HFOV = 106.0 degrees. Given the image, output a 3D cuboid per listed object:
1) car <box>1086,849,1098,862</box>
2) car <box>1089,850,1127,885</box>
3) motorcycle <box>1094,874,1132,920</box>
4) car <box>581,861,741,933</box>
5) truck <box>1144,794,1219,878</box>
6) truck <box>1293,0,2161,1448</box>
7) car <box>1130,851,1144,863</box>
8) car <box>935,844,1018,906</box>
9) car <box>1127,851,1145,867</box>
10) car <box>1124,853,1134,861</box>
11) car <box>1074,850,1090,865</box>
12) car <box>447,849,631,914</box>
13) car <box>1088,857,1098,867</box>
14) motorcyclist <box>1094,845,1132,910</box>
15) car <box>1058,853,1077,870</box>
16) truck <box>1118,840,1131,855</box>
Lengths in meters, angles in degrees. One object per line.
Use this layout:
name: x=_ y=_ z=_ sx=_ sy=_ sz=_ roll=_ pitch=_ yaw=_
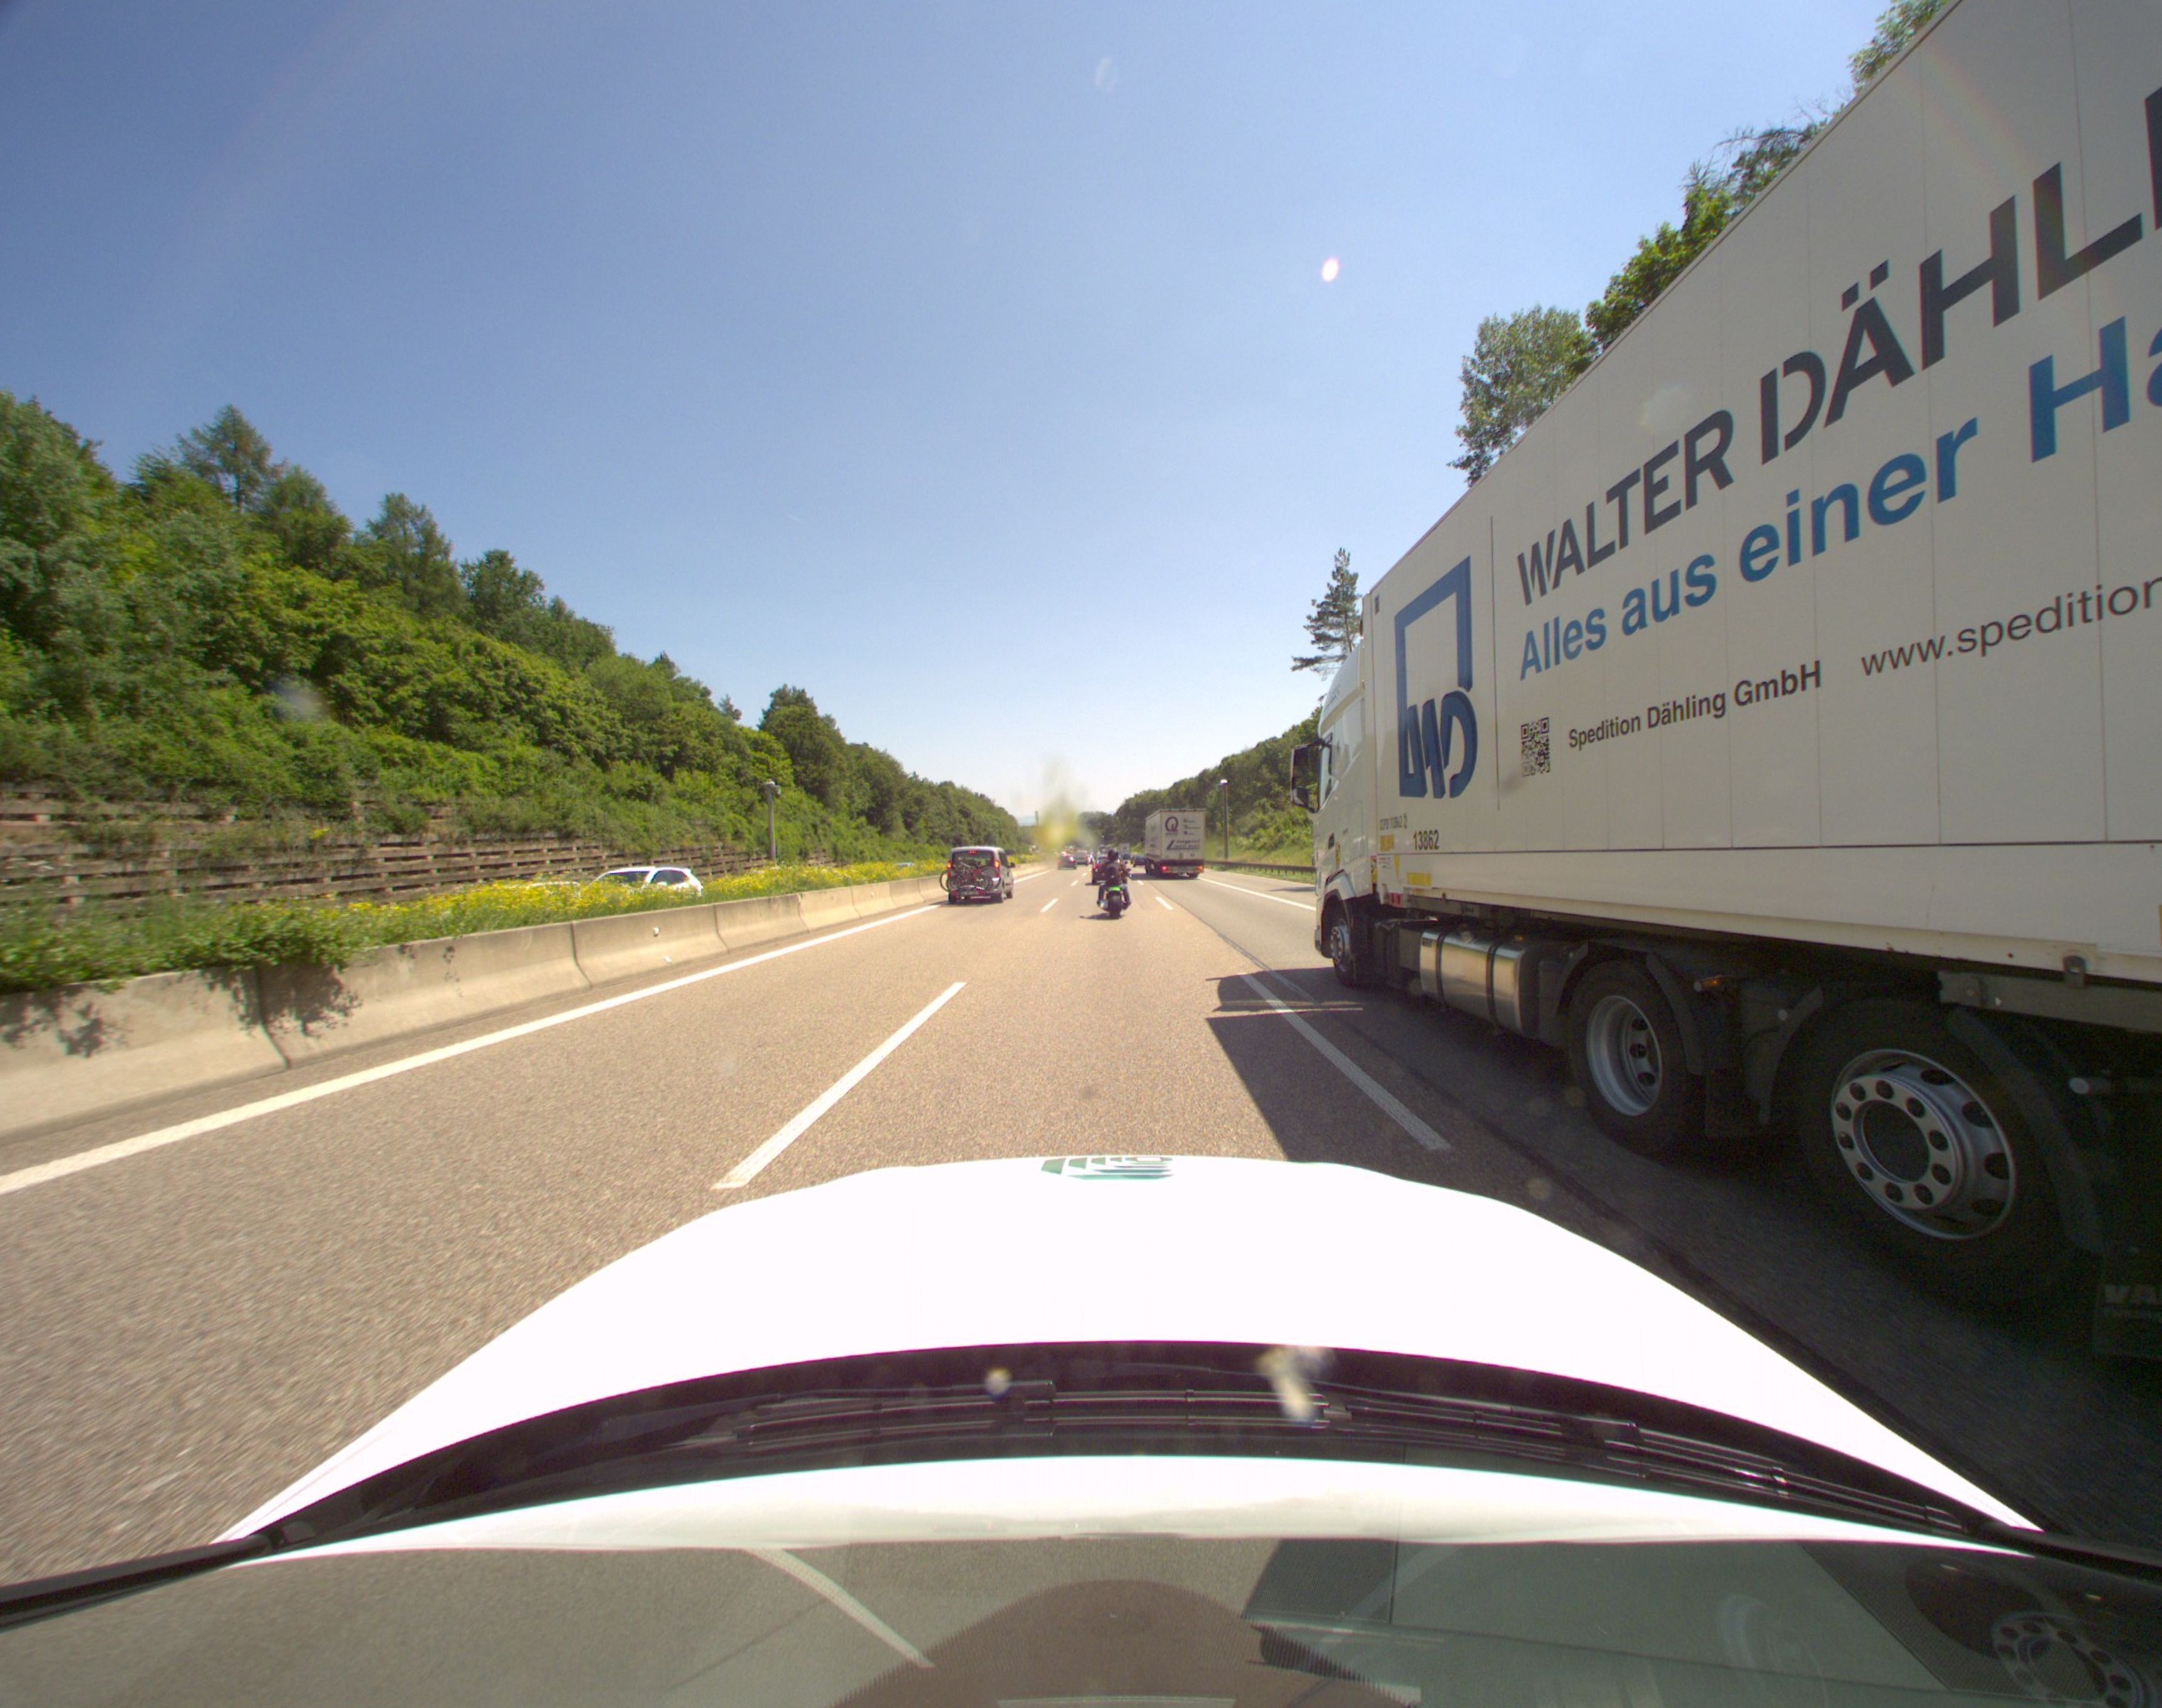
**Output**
car: x=1.636 y=0.242 z=120.312 sx=1.824 sy=1.810 sz=4.122 roll=-1 pitch=1 yaw=1
car: x=1.370 y=0.649 z=41.528 sx=1.838 sy=1.557 sz=4.441 roll=-1 pitch=1 yaw=1
motorcycle: x=0.790 y=1.005 z=19.708 sx=0.859 sy=0.982 sz=2.132 roll=-1 pitch=0 yaw=3
car: x=-10.526 y=1.004 z=20.820 sx=1.782 sy=1.522 sz=4.204 roll=-2 pitch=0 yaw=1
truck: x=6.317 y=-1.153 z=54.501 sx=3.370 sy=4.717 sz=17.718 roll=0 pitch=1 yaw=2
truck: x=4.047 y=-0.690 z=5.811 sx=2.669 sy=4.059 sz=10.632 roll=-1 pitch=1 yaw=2
car: x=7.958 y=0.404 z=116.224 sx=1.824 sy=1.558 sz=4.122 roll=-1 pitch=1 yaw=1
car: x=-3.366 y=0.608 z=27.291 sx=1.891 sy=1.847 sz=5.485 roll=-1 pitch=0 yaw=1
car: x=6.056 y=0.521 z=89.804 sx=1.824 sy=1.558 sz=4.122 roll=-1 pitch=1 yaw=1
car: x=10.171 y=0.635 z=172.390 sx=1.824 sy=1.558 sz=4.122 roll=-1 pitch=1 yaw=1
car: x=0.159 y=0.379 z=103.473 sx=1.824 sy=1.810 sz=4.122 roll=-1 pitch=1 yaw=1
car: x=-14.409 y=0.666 z=21.988 sx=1.929 sy=1.522 sz=4.206 roll=-2 pitch=0 yaw=3
car: x=2.184 y=1.487 z=153.081 sx=1.824 sy=1.810 sz=4.122 roll=-1 pitch=1 yaw=1
motorcyclist: x=0.772 y=0.558 z=19.560 sx=0.852 sy=1.515 sz=0.914 roll=-1 pitch=0 yaw=2
car: x=-1.319 y=0.756 z=81.173 sx=1.751 sy=1.543 sz=4.397 roll=-1 pitch=1 yaw=1
truck: x=10.413 y=-1.568 z=196.096 sx=3.056 sy=3.346 sz=9.657 roll=0 pitch=1 yaw=2
